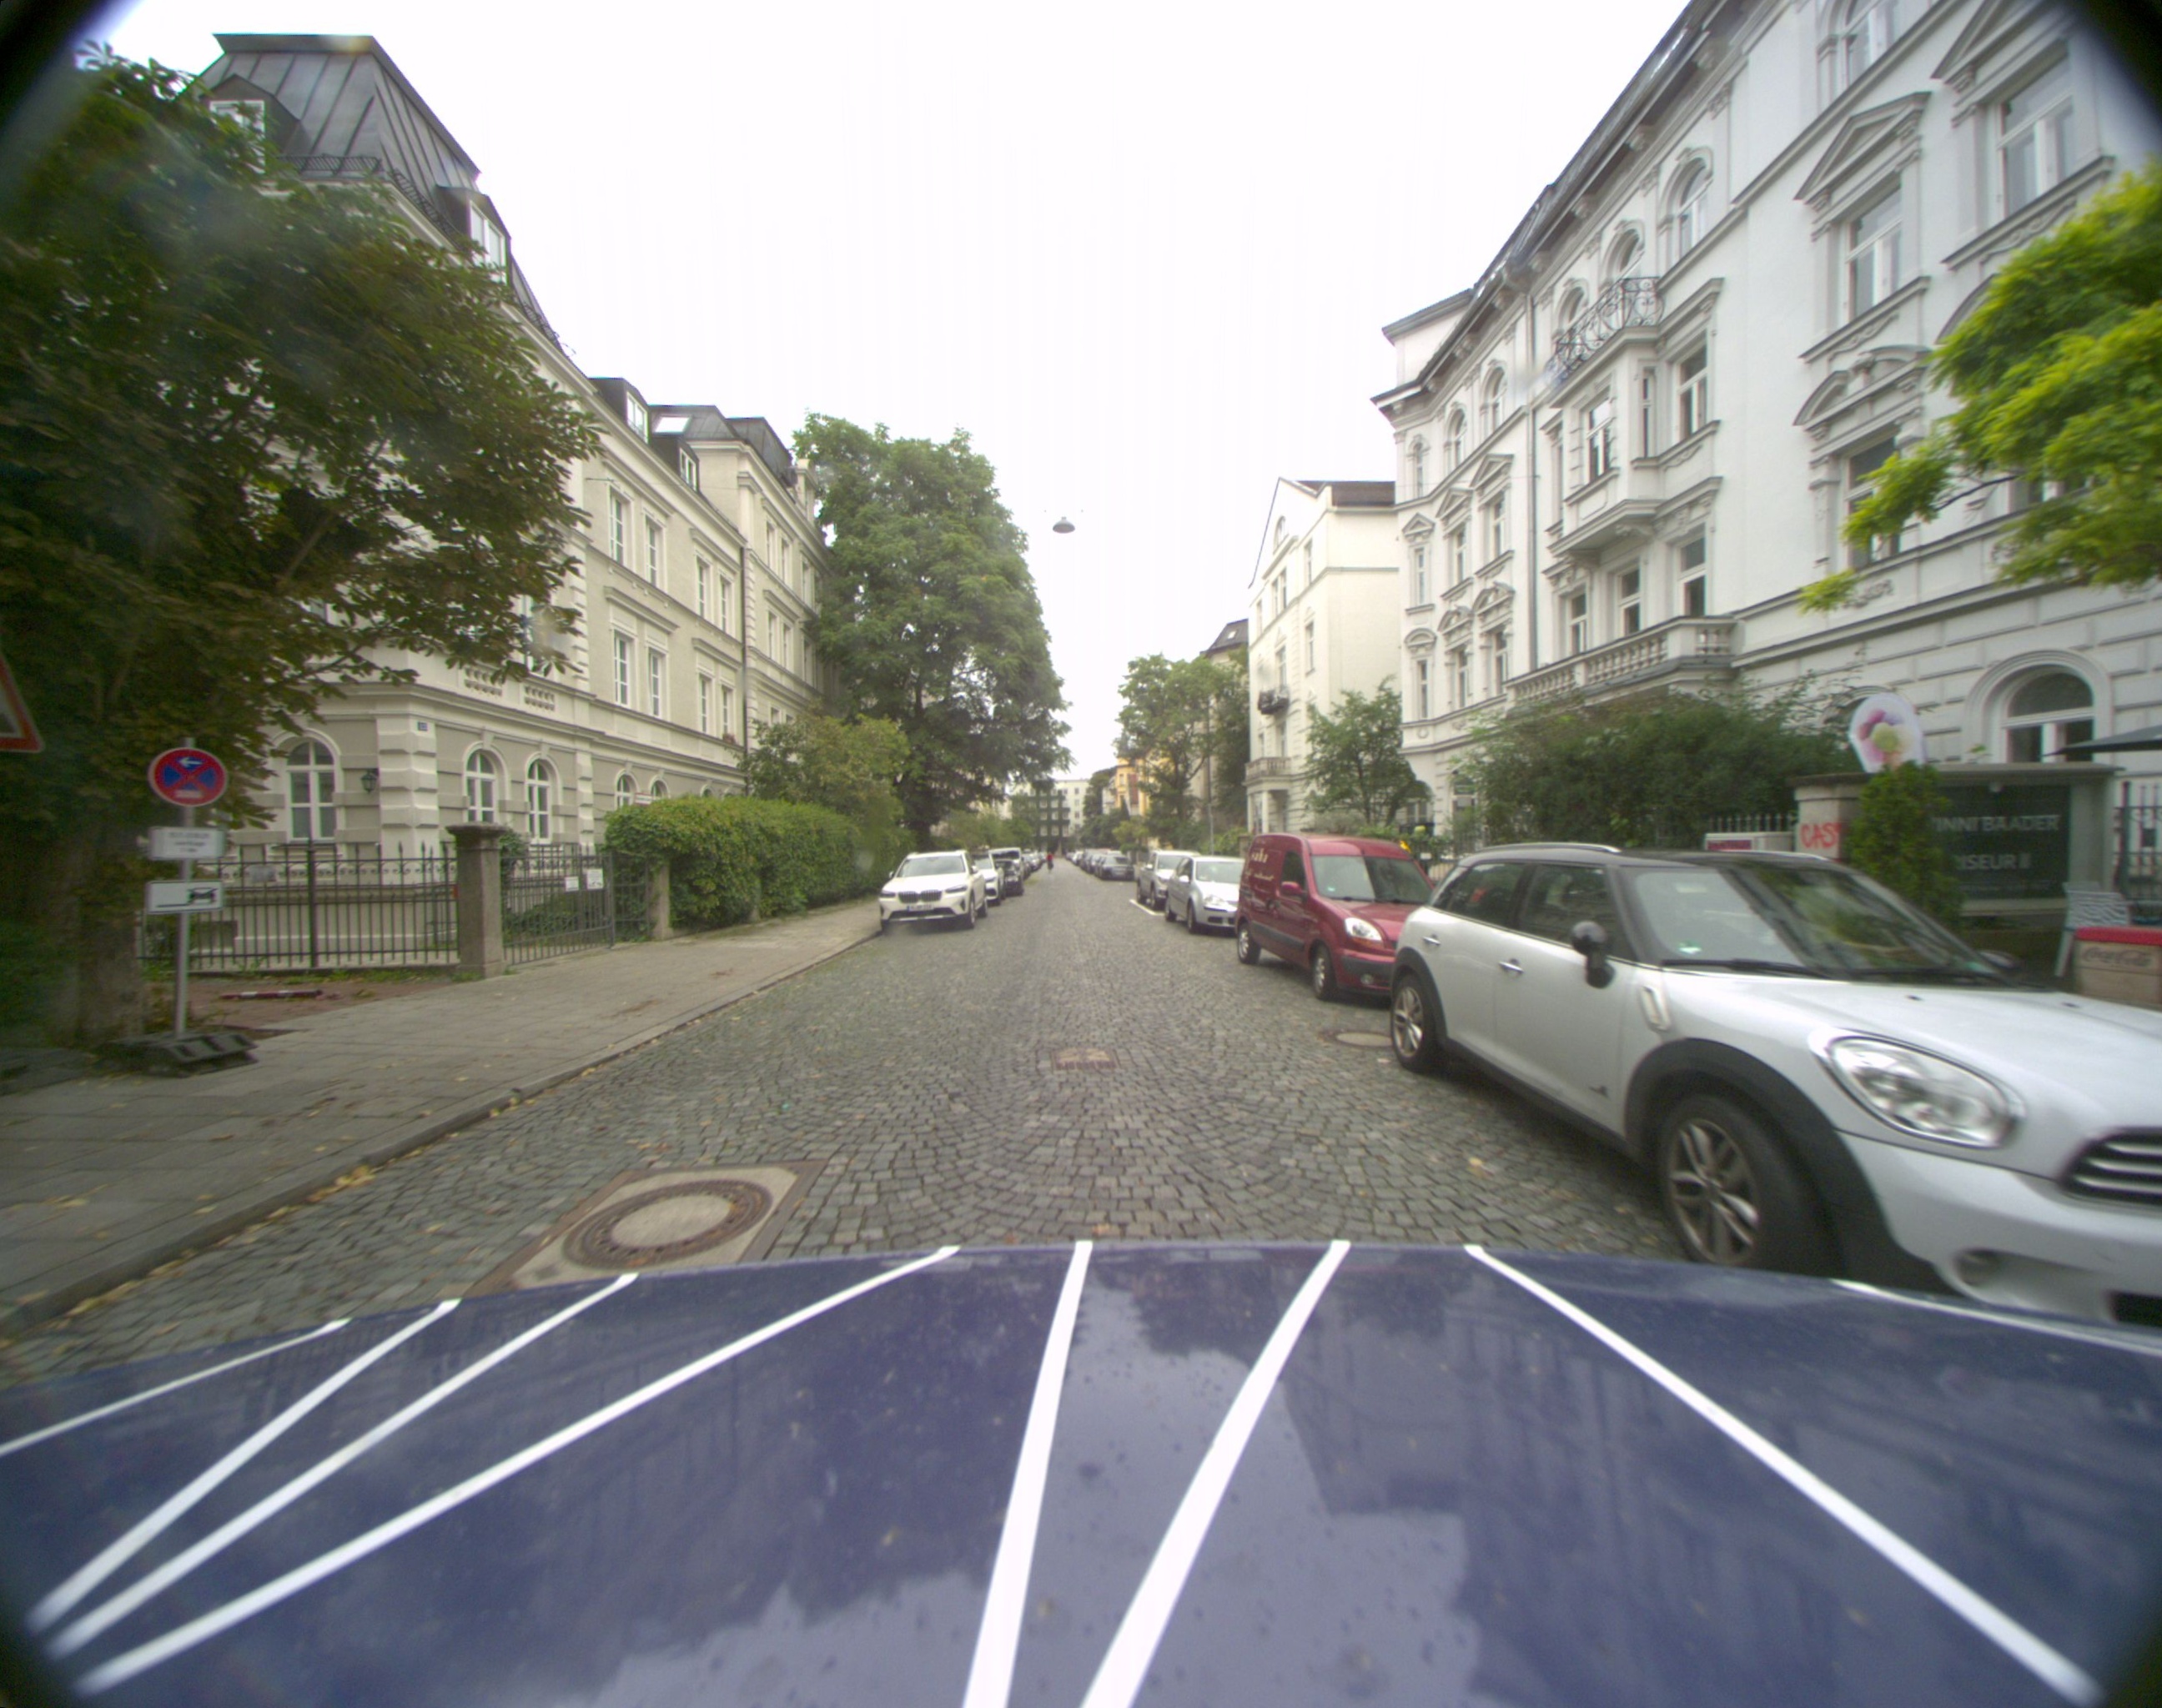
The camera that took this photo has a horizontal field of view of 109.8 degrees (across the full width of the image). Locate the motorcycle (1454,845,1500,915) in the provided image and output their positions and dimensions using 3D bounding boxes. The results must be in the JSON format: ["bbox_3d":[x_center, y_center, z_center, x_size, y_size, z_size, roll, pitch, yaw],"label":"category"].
[{"bbox_3d":[7.029,0.426,13.531,0.331,1.173,1.627,-1,1,14],"label":"motorcycle"}]

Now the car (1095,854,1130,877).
[{"bbox_3d":[1.968,0.718,48.368,1.999,1.324,3.999,-1,0,-1],"label":"car"}]

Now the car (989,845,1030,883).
[{"bbox_3d":[-3.864,0.496,41.740,1.819,1.809,4.807,-5,1,-2],"label":"car"}]

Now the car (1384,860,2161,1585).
[{"bbox_3d":[2.952,0.831,3.527,1.697,1.495,3.777,-1,1,2],"label":"car"}]

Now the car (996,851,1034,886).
[{"bbox_3d":[-4.037,0.839,46.959,1.999,2.002,3.999,-1,1,-1],"label":"car"}]

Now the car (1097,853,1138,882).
[{"bbox_3d":[2.034,0.730,43.408,1.886,1.411,4.807,3,0,-2],"label":"car"}]

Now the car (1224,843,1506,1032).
[{"bbox_3d":[2.947,0.748,8.847,1.722,1.713,3.897,0,1,-2],"label":"car"}]

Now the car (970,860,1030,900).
[{"bbox_3d":[-2.984,0.939,29.028,1.924,1.290,4.807,-1,1,-2],"label":"car"}]

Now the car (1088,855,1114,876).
[{"bbox_3d":[1.438,0.824,55.203,1.714,1.416,3.999,-1,1,-1],"label":"car"}]

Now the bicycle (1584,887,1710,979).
[{"bbox_3d":[7.472,1.001,10.116,0.258,1.072,1.685,-1,0,-6],"label":"bicycle"}]

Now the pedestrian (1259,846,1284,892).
[{"bbox_3d":[6.827,0.521,27.216,0.665,1.618,0.670,-1,1,30],"label":"pedestrian"}]

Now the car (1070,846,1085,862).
[{"bbox_3d":[-0.468,0.018,96.696,1.791,2.002,3.214,-1,1,-1],"label":"car"}]

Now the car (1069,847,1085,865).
[{"bbox_3d":[-0.510,0.197,86.898,1.763,2.002,3.999,-1,1,-1],"label":"car"}]

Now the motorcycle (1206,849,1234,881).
[{"bbox_3d":[6.520,0.507,35.786,0.738,1.420,2.244,-2,1,-4],"label":"motorcycle"}]

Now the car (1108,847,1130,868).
[{"bbox_3d":[3.668,0.296,73.836,1.763,2.002,3.999,-1,1,-1],"label":"car"}]

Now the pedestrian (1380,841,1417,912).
[{"bbox_3d":[7.569,0.524,18.158,0.577,1.637,0.822,-1,1,5],"label":"pedestrian"}]

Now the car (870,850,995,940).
[{"bbox_3d":[-3.142,0.781,17.087,1.925,1.676,4.632,-1,1,-1],"label":"car"}]

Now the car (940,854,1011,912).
[{"bbox_3d":[-3.219,0.822,23.964,1.752,1.591,4.470,-1,1,-2],"label":"car"}]

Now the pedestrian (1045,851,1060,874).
[{"bbox_3d":[-2.297,0.659,60.850,1.105,1.768,1.263,-1,1,-1],"label":"pedestrian"}]

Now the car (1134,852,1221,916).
[{"bbox_3d":[2.617,0.764,21.481,1.694,1.563,4.066,-1,1,-3],"label":"car"}]

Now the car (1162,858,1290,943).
[{"bbox_3d":[2.740,0.825,15.182,1.636,1.386,3.814,-1,1,-3],"label":"car"}]

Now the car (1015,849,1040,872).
[{"bbox_3d":[-4.796,0.579,68.759,1.999,2.002,3.999,-1,1,-1],"label":"car"}]
